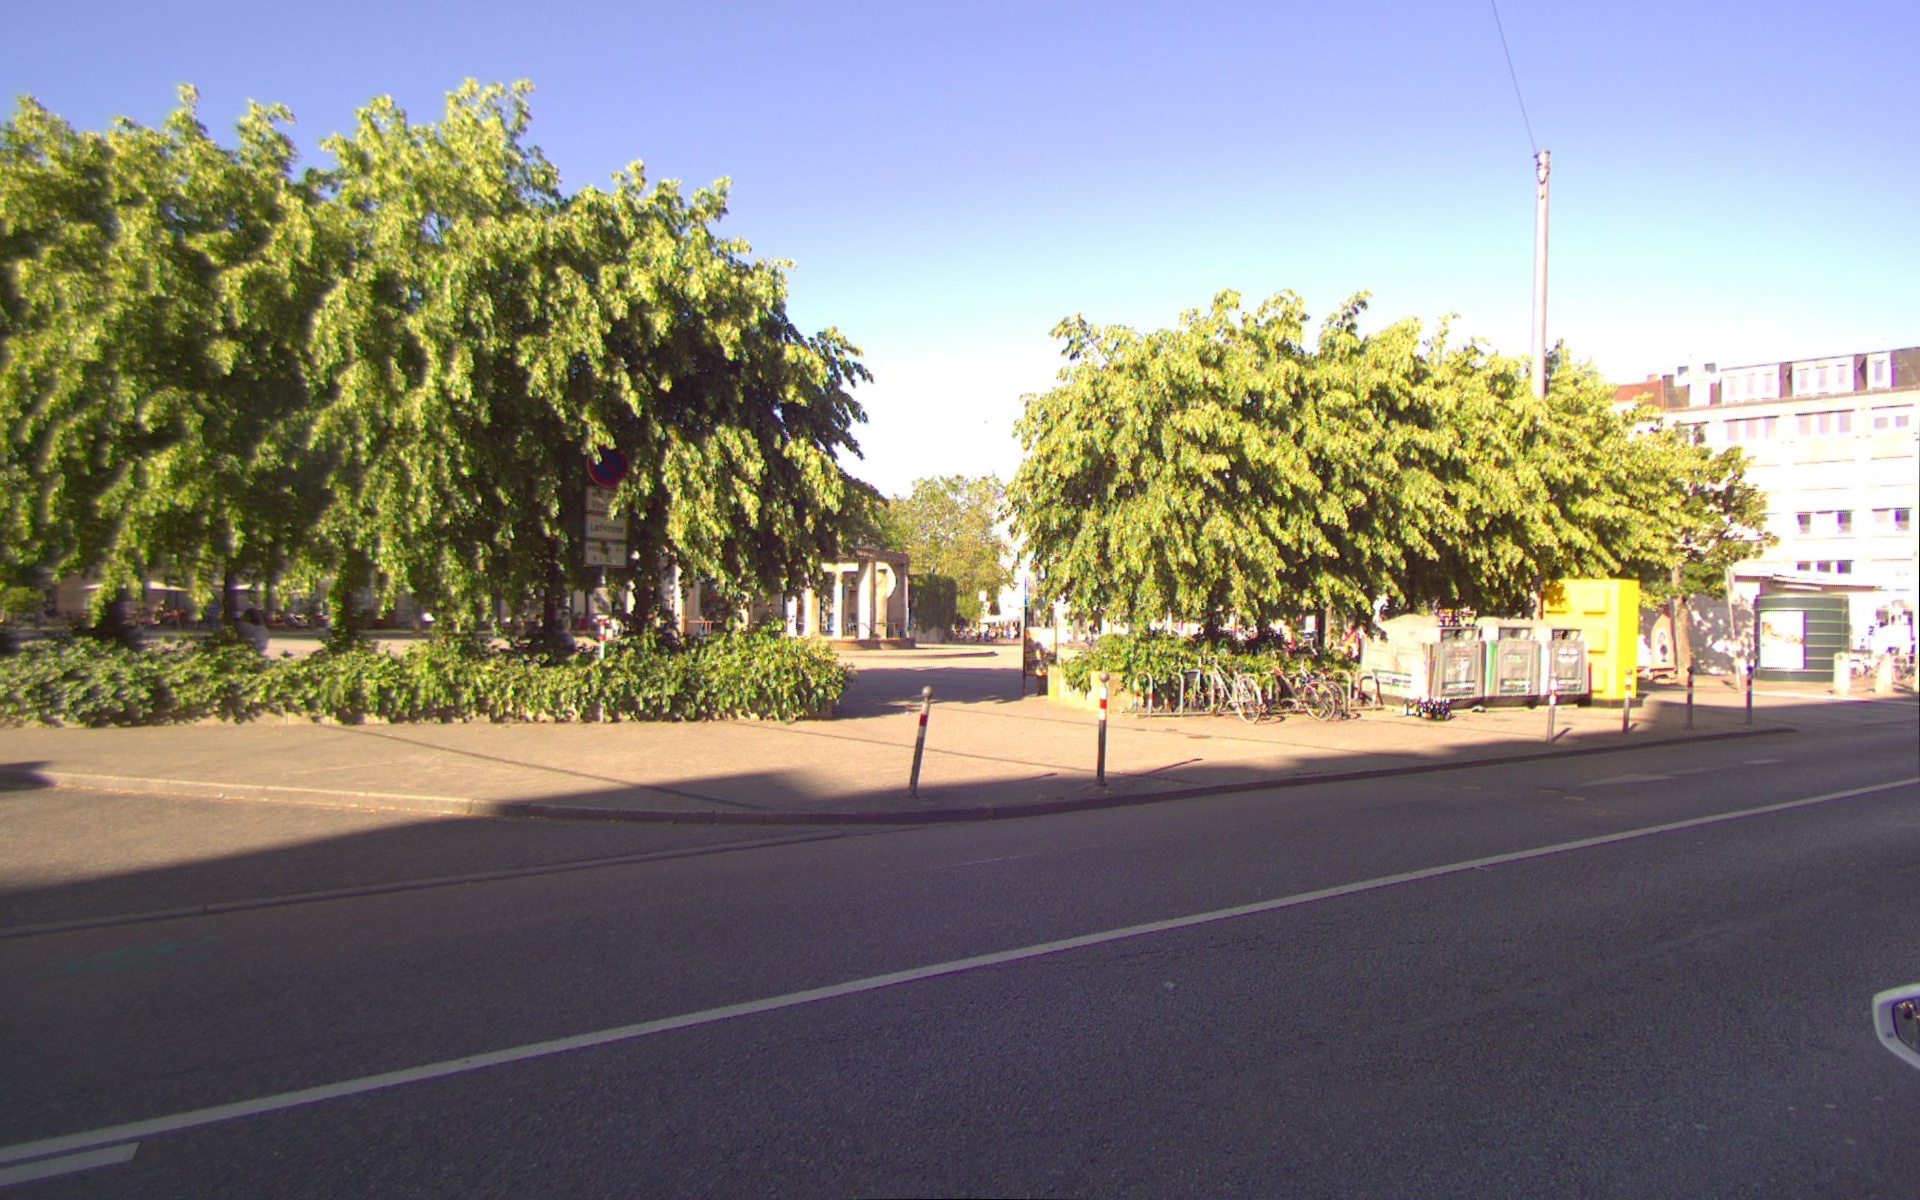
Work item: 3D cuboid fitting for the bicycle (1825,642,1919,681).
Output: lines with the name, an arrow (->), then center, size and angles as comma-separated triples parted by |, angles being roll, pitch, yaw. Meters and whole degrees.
bicycle -> 30.909, 2.055, 33.871 | 0.833, 1.171, 2.493 | 1, -1, -31

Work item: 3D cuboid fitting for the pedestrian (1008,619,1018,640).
pedestrian -> 5.284, 2.927, 99.953 | 0.887, 2.040, 1.284 | 1, -1, -4

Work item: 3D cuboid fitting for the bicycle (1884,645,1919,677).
bicycle -> 36.758, 2.326, 38.032 | 0.834, 1.171, 2.517 | 1, -1, -34

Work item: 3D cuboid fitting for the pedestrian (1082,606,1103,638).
pedestrian -> 8.665, 1.415, 65.771 | 0.889, 2.040, 1.399 | 1, 0, -14

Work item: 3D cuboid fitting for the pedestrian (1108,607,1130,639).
pedestrian -> 10.286, 1.449, 64.881 | 0.890, 2.040, 1.280 | 1, 0, -18

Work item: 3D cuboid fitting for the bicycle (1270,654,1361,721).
bicycle -> 5.800, 1.405, 16.462 | 0.425, 0.971, 1.518 | 0, 0, -28

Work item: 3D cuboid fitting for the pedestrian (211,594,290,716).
pedestrian -> -10.748, 0.817, 15.240 | 0.725, 1.781, 0.895 | 1, -1, -19

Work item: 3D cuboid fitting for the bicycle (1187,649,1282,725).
bicycle -> 4.221, 1.323, 15.549 | 0.425, 1.031, 1.590 | 1, 0, -28

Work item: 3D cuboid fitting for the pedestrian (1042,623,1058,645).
pedestrian -> 8.396, 3.151, 93.481 | 1.252, 2.040, 1.285 | 1, -1, -4

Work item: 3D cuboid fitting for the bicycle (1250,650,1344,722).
bicycle -> 5.390, 1.356, 16.132 | 0.425, 1.036, 1.561 | 1, -1, -28

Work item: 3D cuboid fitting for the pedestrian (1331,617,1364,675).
pedestrian -> 14.063, 1.652, 36.478 | 0.886, 2.040, 0.993 | 1, 0, 7

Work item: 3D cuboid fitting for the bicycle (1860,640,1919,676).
bicycle -> 33.124, 2.035, 35.035 | 0.833, 1.171, 2.449 | 1, -1, -31

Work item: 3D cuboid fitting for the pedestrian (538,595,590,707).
pedestrian -> -6.507, 0.826, 16.554 | 0.725, 1.781, 0.895 | 1, -1, -19

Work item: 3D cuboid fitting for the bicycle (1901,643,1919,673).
bicycle -> 38.682, 2.313, 39.510 | 0.834, 1.171, 2.308 | 1, -1, -34

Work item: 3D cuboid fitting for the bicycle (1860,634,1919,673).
bicycle -> 34.485, 1.942, 36.525 | 0.913, 1.341, 2.461 | 1, -1, -35

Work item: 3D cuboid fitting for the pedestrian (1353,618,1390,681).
pedestrian -> 13.656, 1.625, 33.367 | 0.886, 2.040, 0.993 | 1, 0, 7

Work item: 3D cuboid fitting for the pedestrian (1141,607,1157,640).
pedestrian -> 12.022, 1.485, 63.836 | 0.886, 2.040, 1.222 | 1, 0, 8

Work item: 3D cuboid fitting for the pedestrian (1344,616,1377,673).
pedestrian -> 14.703, 1.613, 36.900 | 0.886, 2.040, 0.993 | 1, 0, 7

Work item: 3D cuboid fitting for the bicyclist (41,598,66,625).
bicyclist -> -48.347, 0.608, 53.564 | 0.660, 1.447, 0.698 | 1, -1, -2

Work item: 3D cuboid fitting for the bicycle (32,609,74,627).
bicycle -> -48.376, 0.954, 53.595 | 0.578, 0.966, 1.906 | 1, -1, -3
